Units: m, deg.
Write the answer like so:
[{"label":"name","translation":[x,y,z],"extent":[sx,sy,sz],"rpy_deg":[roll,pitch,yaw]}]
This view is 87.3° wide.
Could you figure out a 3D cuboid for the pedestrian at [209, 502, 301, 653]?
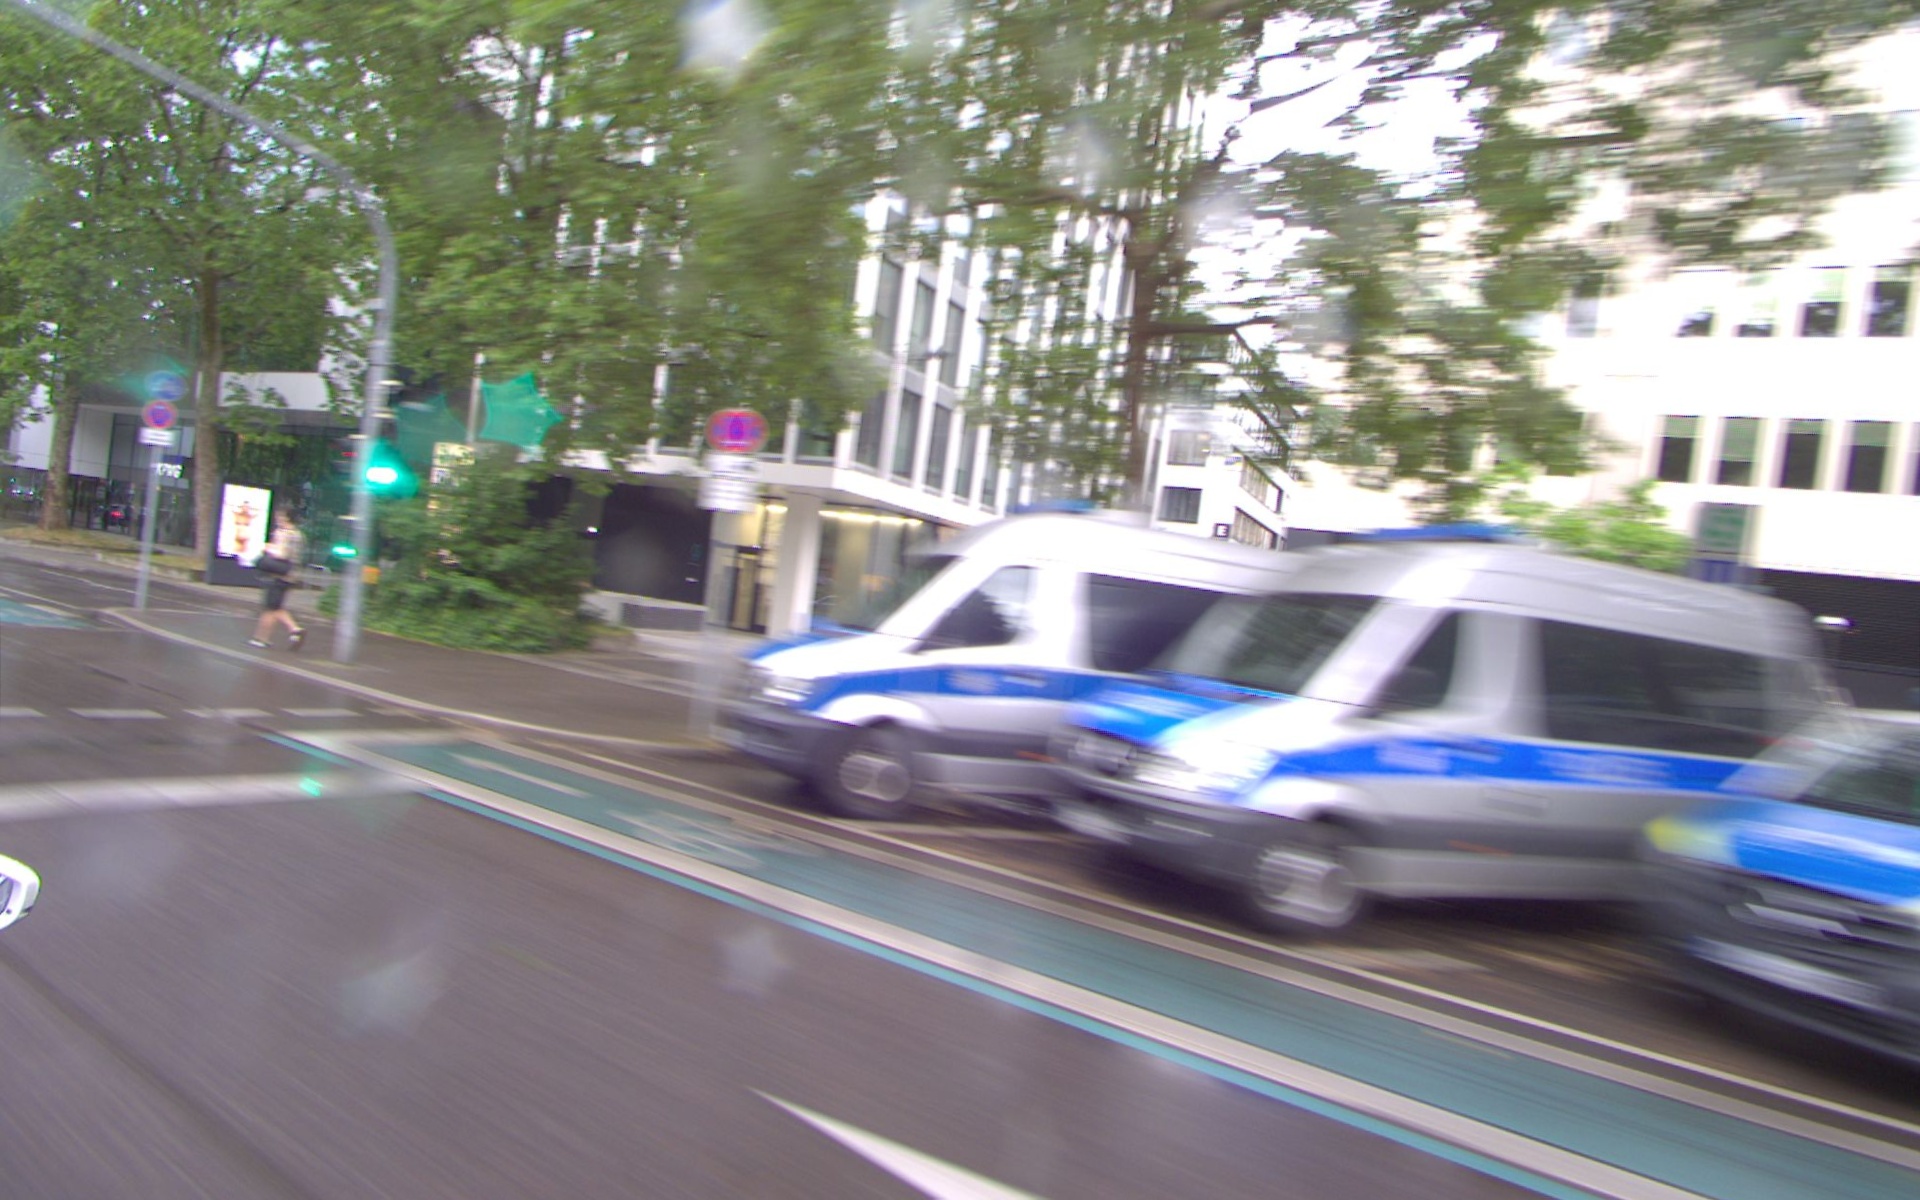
[{"label":"pedestrian","translation":[-9.142,-0.279,13.054],"extent":[0.554,1.853,0.607],"rpy_deg":[7,0,22]}]

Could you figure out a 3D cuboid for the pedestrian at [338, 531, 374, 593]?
[{"label":"pedestrian","translation":[-18.517,-1.166,30.841],"extent":[0.597,1.816,0.563],"rpy_deg":[7,0,29]}]

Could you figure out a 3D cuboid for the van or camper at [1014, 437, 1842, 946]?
[{"label":"van or camper","translation":[3.534,0.814,7.392],"extent":[5.737,2.713,1.989],"rpy_deg":[8,0,-24]}]

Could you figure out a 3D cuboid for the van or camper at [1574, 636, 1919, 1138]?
[{"label":"van or camper","translation":[6.188,1.551,5.710],"extent":[4.952,2.037,1.990],"rpy_deg":[8,-1,-23]}]

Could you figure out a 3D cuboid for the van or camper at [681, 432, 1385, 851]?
[{"label":"van or camper","translation":[0.680,0.529,9.080],"extent":[5.738,2.709,2.137],"rpy_deg":[8,-1,-22]}]

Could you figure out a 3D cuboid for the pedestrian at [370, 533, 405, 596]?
[{"label":"pedestrian","translation":[-18.037,-1.115,31.706],"extent":[0.597,1.877,0.563],"rpy_deg":[7,0,29]}]
